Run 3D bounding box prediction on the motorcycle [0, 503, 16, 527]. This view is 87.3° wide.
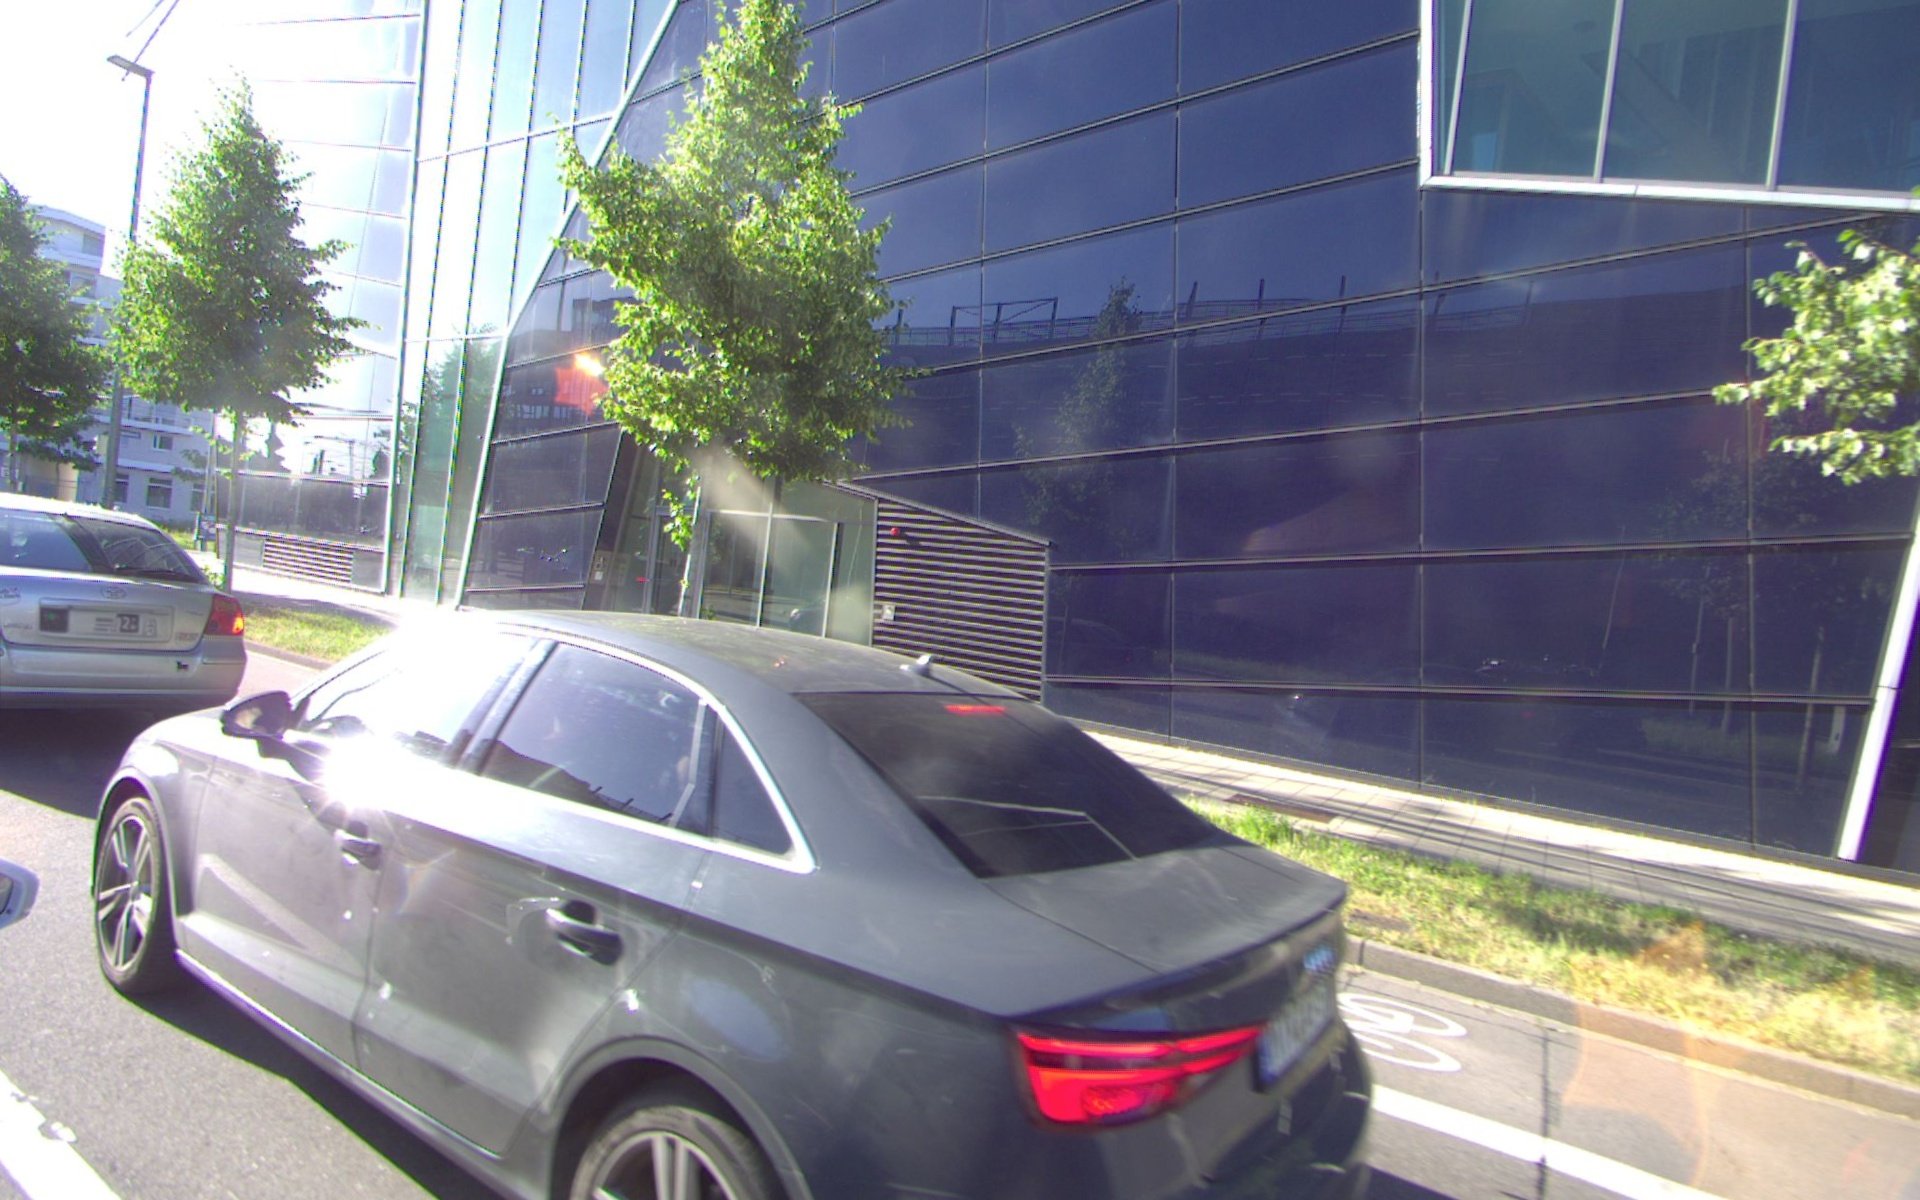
[{"bbox_3d":[-44.313,-3.995,45.308,1.154,1.013,2.451,7,0,39],"label":"motorcycle"}]

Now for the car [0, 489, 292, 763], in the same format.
[{"bbox_3d":[-6.874,-0.031,7.136,4.552,1.499,1.748,7,0,32],"label":"car"}]

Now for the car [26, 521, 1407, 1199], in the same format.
[{"bbox_3d":[-1.070,0.694,3.175,4.196,1.408,1.748,7,-1,34],"label":"car"}]
